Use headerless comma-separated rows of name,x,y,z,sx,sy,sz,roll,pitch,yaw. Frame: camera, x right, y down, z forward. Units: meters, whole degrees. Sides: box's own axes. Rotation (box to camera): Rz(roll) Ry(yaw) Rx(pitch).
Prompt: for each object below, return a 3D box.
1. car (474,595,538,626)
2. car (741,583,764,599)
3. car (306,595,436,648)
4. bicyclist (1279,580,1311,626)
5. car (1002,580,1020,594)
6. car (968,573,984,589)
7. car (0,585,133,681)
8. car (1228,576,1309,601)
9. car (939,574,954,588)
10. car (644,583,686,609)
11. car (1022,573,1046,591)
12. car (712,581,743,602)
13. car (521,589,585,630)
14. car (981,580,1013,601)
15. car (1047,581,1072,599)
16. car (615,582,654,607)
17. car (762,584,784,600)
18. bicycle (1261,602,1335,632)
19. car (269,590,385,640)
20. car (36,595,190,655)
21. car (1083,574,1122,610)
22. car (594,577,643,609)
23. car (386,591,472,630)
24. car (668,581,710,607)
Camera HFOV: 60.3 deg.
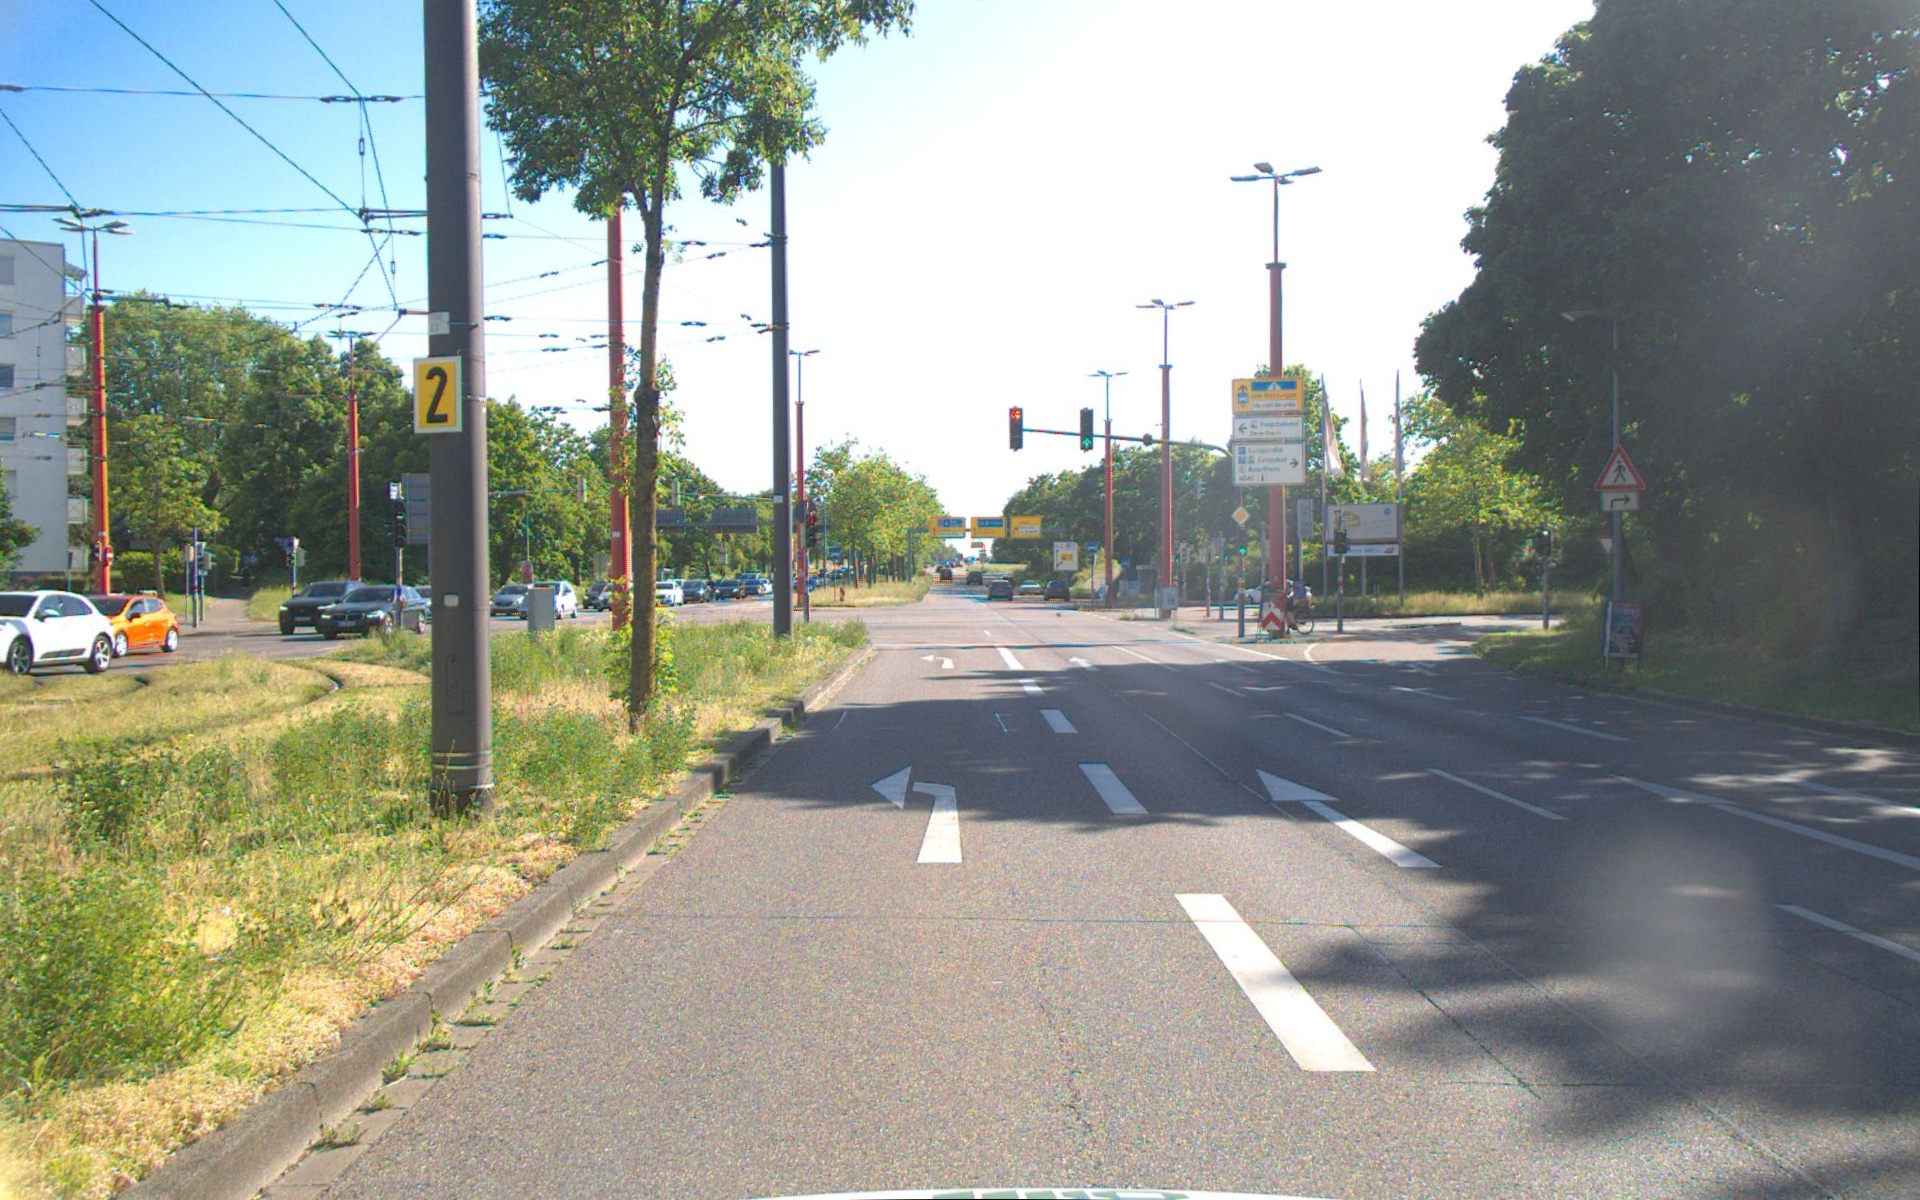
car,-21.362,0.461,77.999,1.953,1.398,4.399,1,0,-2
car,-17.803,-0.793,141.747,1.517,1.401,4.262,0,1,-1
car,-17.241,0.596,48.703,1.952,1.434,4.991,1,0,1
bicyclist,10.032,0.093,49.551,0.726,1.365,0.706,1,0,-11
car,6.164,-1.566,199.352,1.953,1.567,4.000,0,0,-1
car,2.078,-2.526,218.277,2.110,2.049,4.000,0,0,-1
car,-17.541,0.556,30.711,1.855,1.650,4.658,1,0,2
car,17.389,-0.657,93.135,4.284,1.395,2.062,0,0,16
car,-1.970,-2.705,239.063,1.954,2.049,3.998,1,0,-3
car,-17.385,-0.229,97.681,1.669,1.447,4.642,-1,0,-1
car,6.722,-1.619,149.995,1.953,1.567,4.000,1,0,0
car,-17.393,-0.631,123.764,1.838,1.511,4.603,1,0,-2
car,-17.132,0.383,69.810,1.727,1.636,3.758,-1,0,0
car,2.680,-0.675,120.389,1.954,1.523,3.997,0,0,-4
car,7.476,-0.768,124.315,1.702,1.365,3.081,0,0,-1
car,-21.210,-0.358,107.883,1.838,1.603,3.998,1,0,-2
car,-17.078,-0.746,151.372,1.572,1.485,3.950,0,0,0
bicycle,10.141,0.512,49.576,2.123,0.894,0.558,1,0,-12
car,-20.503,0.457,53.769,1.952,1.506,4.631,1,0,0
car,-20.332,0.566,39.891,1.623,1.320,4.176,1,0,-1
car,7.766,-0.463,90.093,1.951,1.920,4.003,0,0,7
car,-17.544,-0.377,85.186,1.556,1.498,4.183,-2,1,1
car,-20.911,0.391,65.308,1.953,1.457,4.693,-1,0,-1
car,-17.678,-0.403,108.045,1.952,1.622,4.465,-1,1,1
